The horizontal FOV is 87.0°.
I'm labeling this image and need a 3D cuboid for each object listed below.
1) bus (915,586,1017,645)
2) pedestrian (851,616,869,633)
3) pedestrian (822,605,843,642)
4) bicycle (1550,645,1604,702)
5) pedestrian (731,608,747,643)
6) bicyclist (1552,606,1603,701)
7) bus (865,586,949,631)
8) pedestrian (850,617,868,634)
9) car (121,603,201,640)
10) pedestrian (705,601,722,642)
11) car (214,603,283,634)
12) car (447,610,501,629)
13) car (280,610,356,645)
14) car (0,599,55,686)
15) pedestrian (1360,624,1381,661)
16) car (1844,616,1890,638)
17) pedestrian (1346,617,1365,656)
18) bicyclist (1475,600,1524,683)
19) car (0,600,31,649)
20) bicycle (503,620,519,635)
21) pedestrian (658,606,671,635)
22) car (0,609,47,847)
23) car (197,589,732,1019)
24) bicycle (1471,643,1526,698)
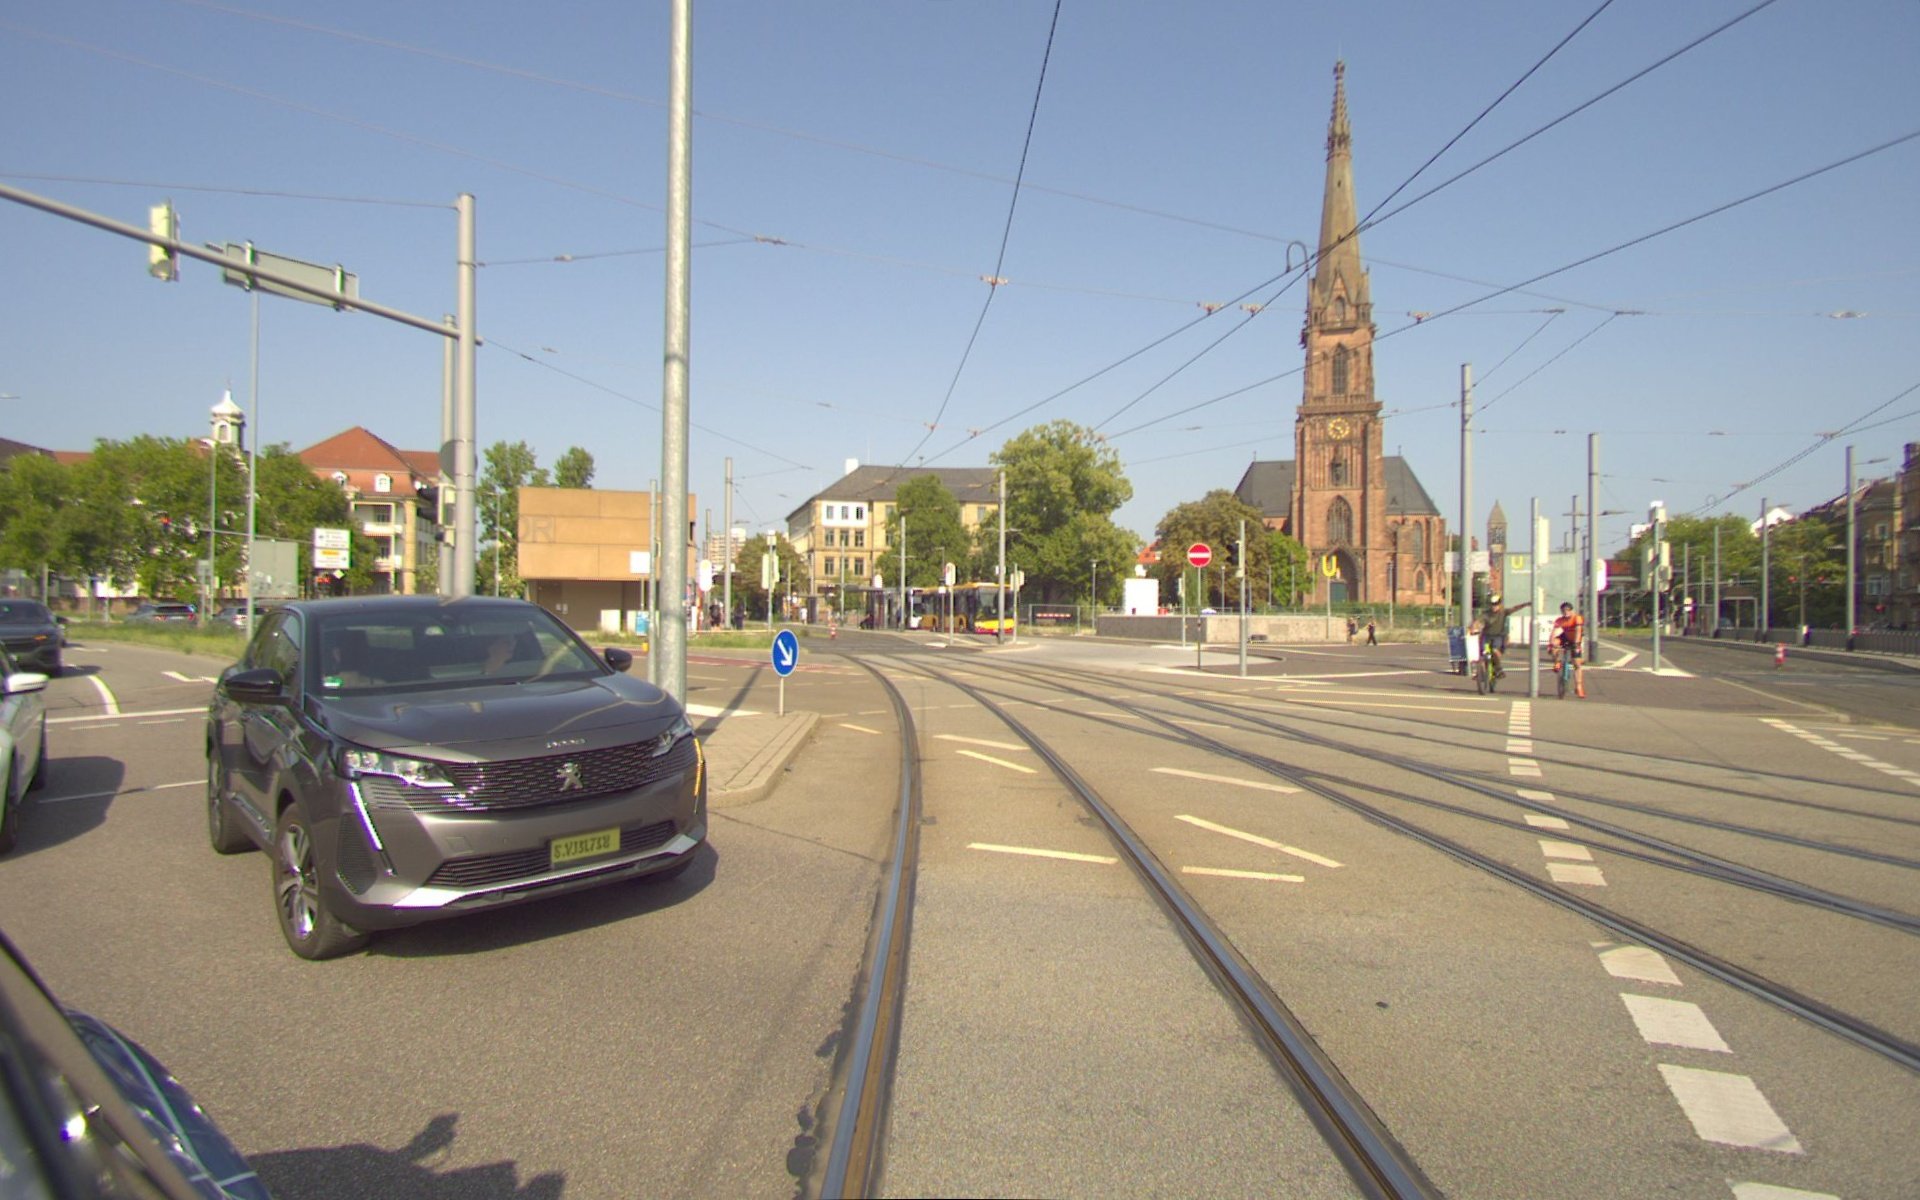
[{"bbox_3d":[0.095,0.932,60.425,2.670,3.131,12.250,1,-1,-16],"label":"bus"},{"bbox_3d":[-6.657,1.648,67.580,1.013,1.142,0.740,1,-1,-24],"label":"pedestrian"},{"bbox_3d":[-6.352,1.152,50.362,0.700,1.814,0.770,0,-1,39],"label":"pedestrian"},{"bbox_3d":[11.220,1.308,18.383,0.724,0.939,1.797,-1,-1,35],"label":"bicycle"},{"bbox_3d":[-11.640,1.331,53.241,0.689,1.814,0.782,1,-1,-19],"label":"pedestrian"},{"bbox_3d":[11.221,0.946,18.387,0.724,1.664,0.873,-1,-1,35],"label":"bicyclist"},{"bbox_3d":[-4.076,0.672,73.834,3.243,3.000,12.834,1,-1,-16],"label":"bus"},{"bbox_3d":[-6.859,1.705,68.427,1.013,1.142,0.740,1,-1,-24],"label":"pedestrian"},{"bbox_3d":[-37.340,0.989,47.279,4.450,1.629,1.679,0,-1,35],"label":"car"},{"bbox_3d":[-11.137,0.983,45.796,0.689,1.814,0.782,1,-1,-12],"label":"pedestrian"},{"bbox_3d":[-35.313,0.901,50.215,4.222,1.444,1.795,0,-1,40],"label":"car"},{"bbox_3d":[-43.577,1.707,90.773,1.982,1.646,4.349,0,-1,16],"label":"car"},{"bbox_3d":[-28.161,1.197,44.380,3.674,1.463,1.868,0,-1,42],"label":"car"},{"bbox_3d":[-20.823,0.902,21.718,4.535,1.705,1.758,-2,1,44],"label":"car"},{"bbox_3d":[19.801,2.042,48.810,0.752,1.796,0.697,-1,-2,43],"label":"pedestrian"},{"bbox_3d":[73.741,2.165,82.353,1.993,1.691,4.501,0,-1,32],"label":"car"},{"bbox_3d":[19.260,1.763,49.288,0.653,1.880,0.711,-1,-2,43],"label":"pedestrian"},{"bbox_3d":[10.241,0.771,19.209,0.724,1.539,0.787,-1,-1,35],"label":"bicyclist"},{"bbox_3d":[-36.383,0.960,37.868,4.529,1.733,1.760,-2,1,40],"label":"car"},{"bbox_3d":[-25.429,1.560,57.321,0.583,0.844,1.551,-2,0,-15],"label":"bicycle"},{"bbox_3d":[-18.049,1.260,61.723,0.707,1.751,0.859,1,-1,-18],"label":"pedestrian"},{"bbox_3d":[-7.297,0.805,6.554,1.755,1.494,4.542,1,-1,-39],"label":"car"},{"bbox_3d":[-3.109,0.753,5.761,1.662,1.503,4.378,1,-2,-41],"label":"car"},{"bbox_3d":[10.235,1.316,19.195,0.724,0.939,1.797,-1,-1,35],"label":"bicycle"}]
